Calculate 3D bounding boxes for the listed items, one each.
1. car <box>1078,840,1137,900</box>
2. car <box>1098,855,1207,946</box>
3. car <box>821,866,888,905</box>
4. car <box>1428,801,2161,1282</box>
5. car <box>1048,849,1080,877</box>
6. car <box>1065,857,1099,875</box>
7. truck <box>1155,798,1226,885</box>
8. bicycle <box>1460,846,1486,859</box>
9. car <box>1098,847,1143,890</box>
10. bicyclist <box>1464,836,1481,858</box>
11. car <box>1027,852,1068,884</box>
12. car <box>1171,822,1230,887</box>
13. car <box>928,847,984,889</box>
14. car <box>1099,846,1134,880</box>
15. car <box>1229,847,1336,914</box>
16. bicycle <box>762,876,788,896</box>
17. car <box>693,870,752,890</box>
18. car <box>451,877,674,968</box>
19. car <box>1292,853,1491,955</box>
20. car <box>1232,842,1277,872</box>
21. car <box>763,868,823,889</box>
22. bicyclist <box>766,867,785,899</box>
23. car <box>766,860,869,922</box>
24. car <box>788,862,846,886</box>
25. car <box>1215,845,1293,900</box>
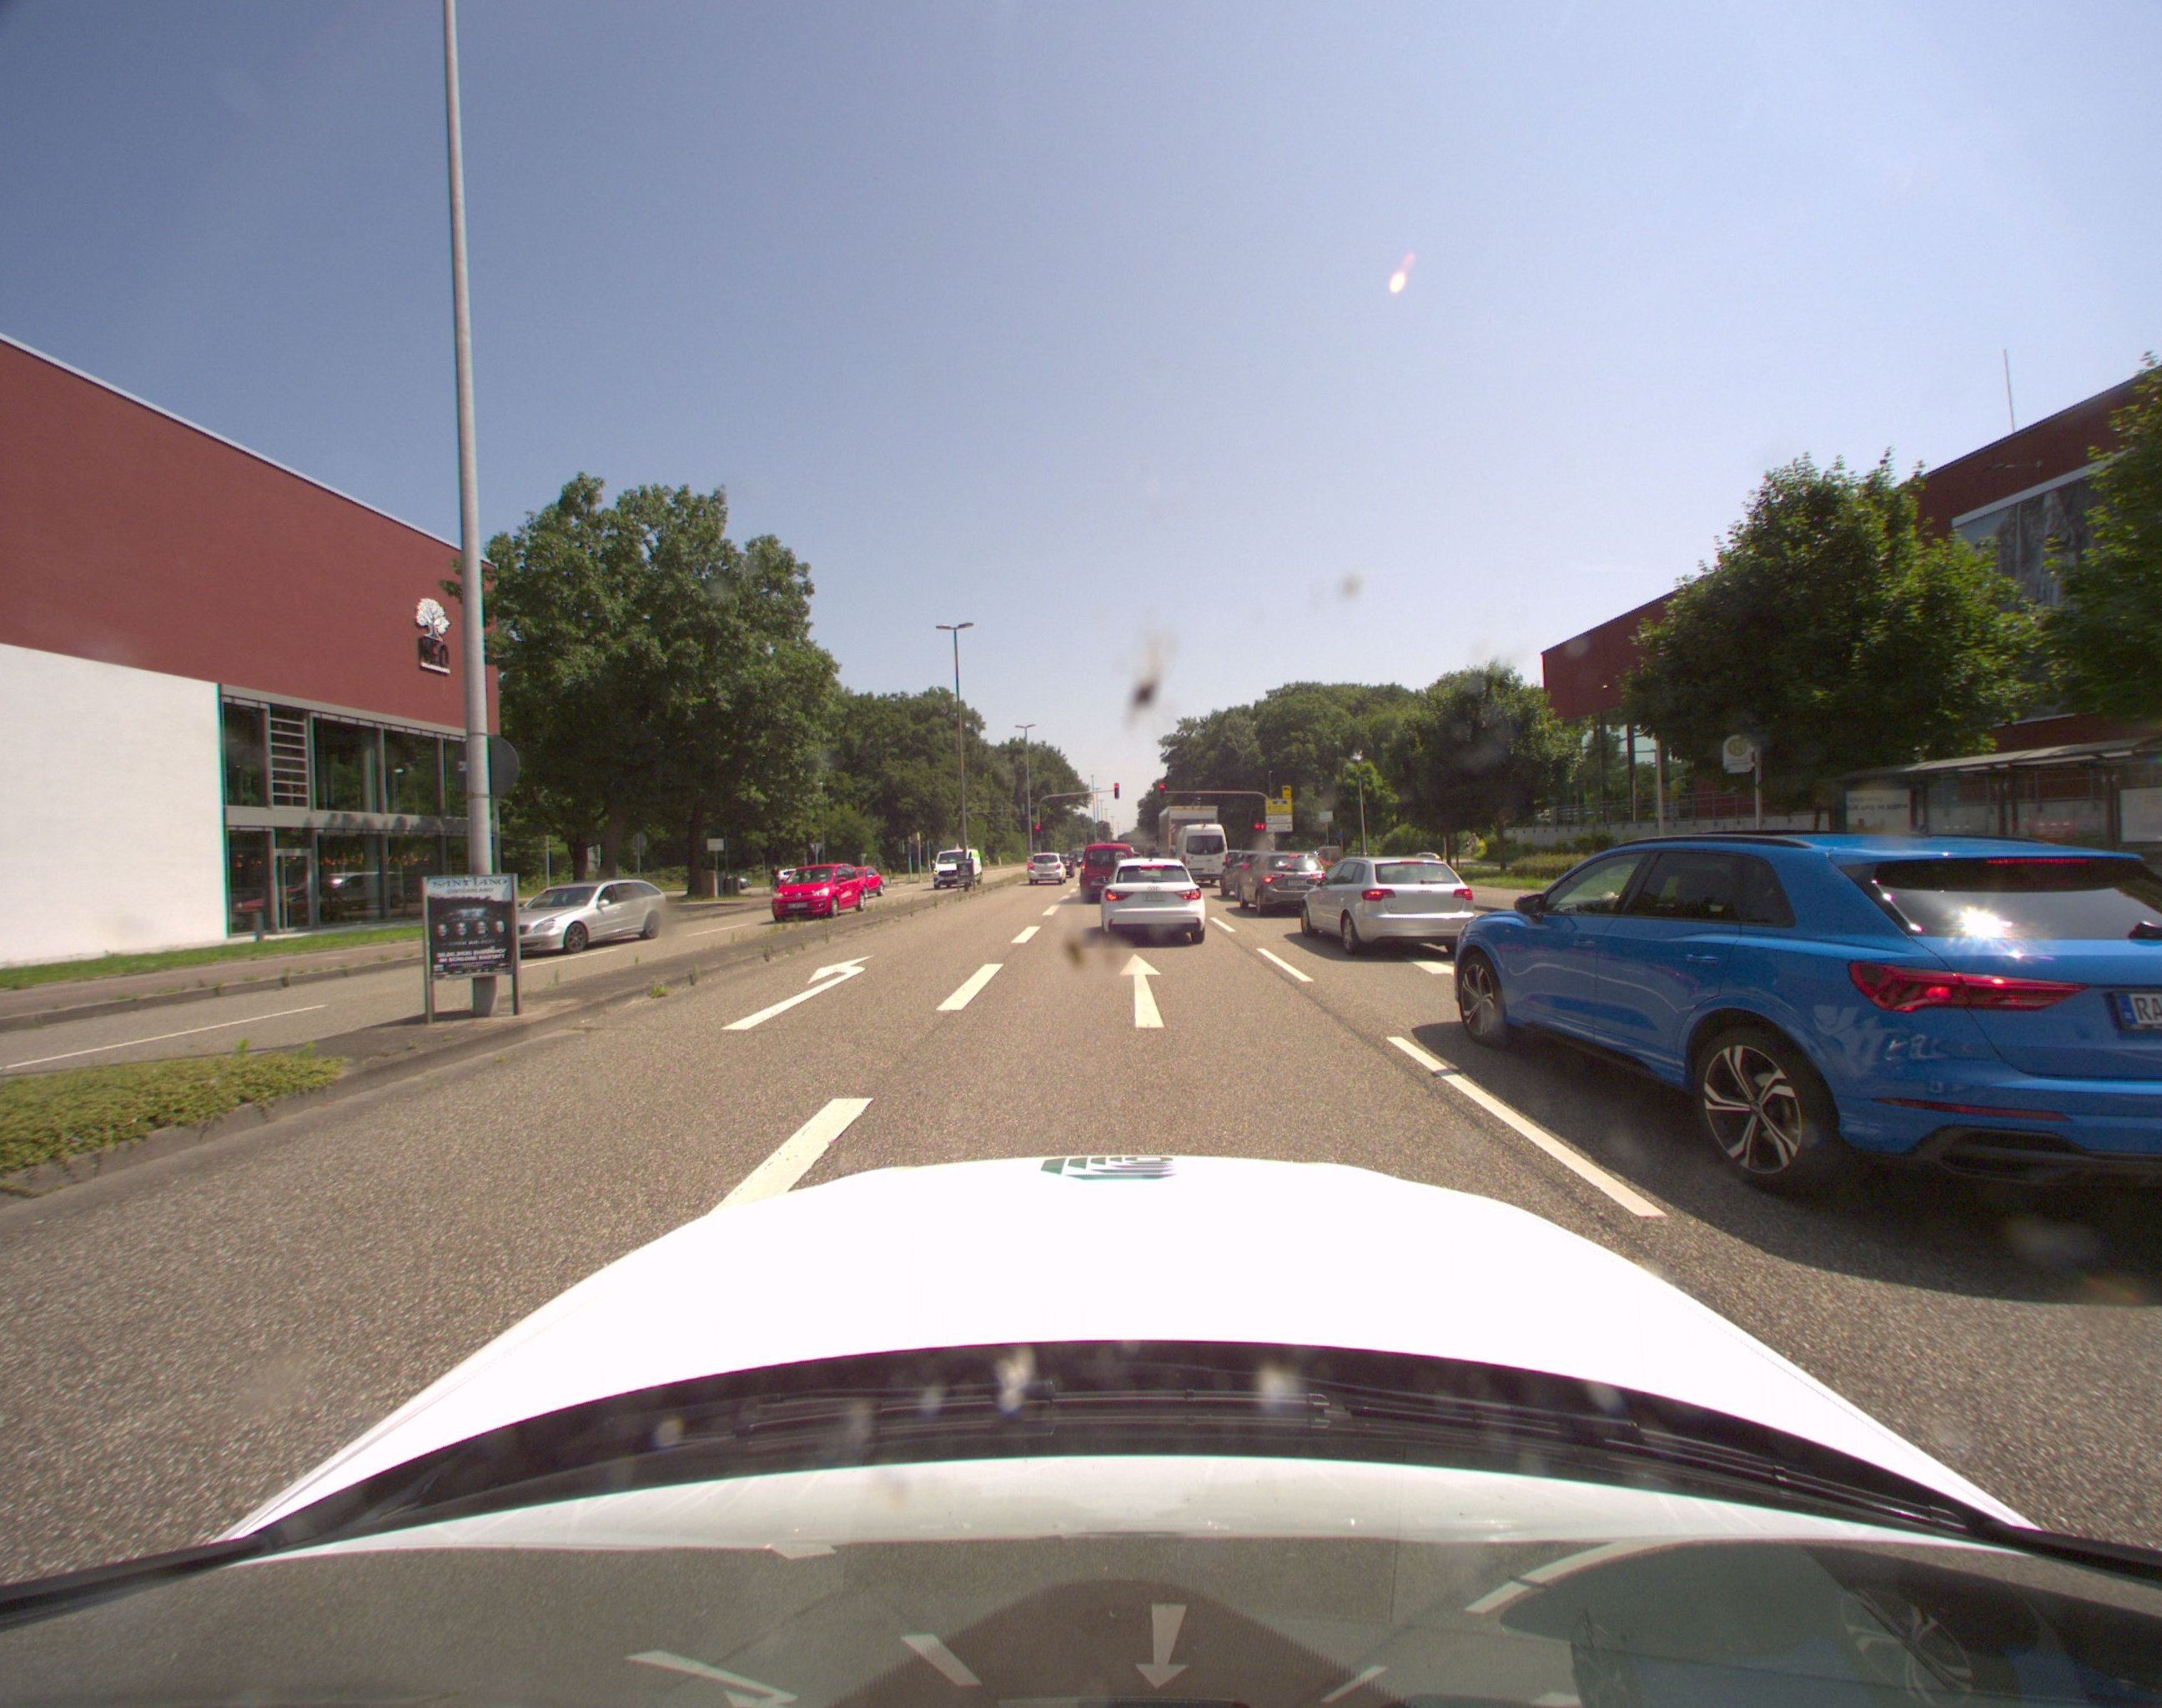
[{"bbox_3d":[0.833,0.467,26.092,1.706,1.748,4.093,-1,0,1],"label":"car"},{"bbox_3d":[1.179,0.743,14.935,1.706,1.386,4.093,-1,0,1],"label":"car"},{"bbox_3d":[-10.255,1.386,37.119,1.699,1.452,3.894,-5,0,3],"label":"car"},{"bbox_3d":[3.896,0.606,4.922,1.830,1.596,4.402,-1,0,2],"label":"car"},{"bbox_3d":[-1.037,0.543,50.874,1.768,1.641,4.038,-1,0,1],"label":"car"},{"bbox_3d":[0.044,1.208,83.700,1.883,1.689,3.965,-2,0,-26],"label":"car"},{"bbox_3d":[6.119,-0.663,47.373,3.076,4.434,11.588,-1,0,3],"label":"truck"},{"bbox_3d":[26.324,-0.088,54.649,1.832,0.766,0.595,-2,0,-29],"label":"bicycle"},{"bbox_3d":[1.584,0.563,33.775,1.706,1.631,4.093,-1,0,1],"label":"car"},{"bbox_3d":[26.300,-0.441,54.671,0.831,1.439,0.594,-2,0,-26],"label":"bicyclist"},{"bbox_3d":[-1.605,0.651,40.371,1.706,1.492,4.093,-1,0,1],"label":"car"},{"bbox_3d":[5.233,0.009,36.199,2.023,2.644,4.847,-1,0,2],"label":"car"},{"bbox_3d":[-6.577,0.696,43.407,1.986,1.945,4.910,-4,0,2],"label":"car"},{"bbox_3d":[1.788,0.440,42.227,1.706,1.631,4.093,-1,0,1],"label":"car"},{"bbox_3d":[4.895,0.593,20.334,1.706,1.478,4.093,1,0,1],"label":"car"},{"bbox_3d":[-17.439,1.835,46.501,0.652,1.051,1.886,-2,0,3],"label":"bicycle"},{"bbox_3d":[-30.938,2.241,70.402,4.369,1.681,1.805,0,-1,-9],"label":"car"},{"bbox_3d":[-10.730,1.334,17.322,1.771,1.404,4.361,-5,0,1],"label":"car"},{"bbox_3d":[4.700,0.675,13.000,1.706,1.362,4.093,0,0,1],"label":"car"},{"bbox_3d":[9.757,0.160,46.087,1.706,1.546,4.093,-1,0,1],"label":"car"},{"bbox_3d":[-23.689,1.988,67.138,4.364,1.681,1.807,0,-1,-6],"label":"car"},{"bbox_3d":[-17.451,1.653,46.468,0.647,1.770,0.928,-2,0,2],"label":"bicyclist"},{"bbox_3d":[-7.266,0.959,22.810,1.575,1.441,3.609,-4,0,1],"label":"car"},{"bbox_3d":[-23.173,1.724,71.551,4.365,1.681,1.807,-6,0,-6],"label":"car"},{"bbox_3d":[5.508,0.549,26.403,1.706,1.593,4.093,-1,0,1],"label":"car"}]
